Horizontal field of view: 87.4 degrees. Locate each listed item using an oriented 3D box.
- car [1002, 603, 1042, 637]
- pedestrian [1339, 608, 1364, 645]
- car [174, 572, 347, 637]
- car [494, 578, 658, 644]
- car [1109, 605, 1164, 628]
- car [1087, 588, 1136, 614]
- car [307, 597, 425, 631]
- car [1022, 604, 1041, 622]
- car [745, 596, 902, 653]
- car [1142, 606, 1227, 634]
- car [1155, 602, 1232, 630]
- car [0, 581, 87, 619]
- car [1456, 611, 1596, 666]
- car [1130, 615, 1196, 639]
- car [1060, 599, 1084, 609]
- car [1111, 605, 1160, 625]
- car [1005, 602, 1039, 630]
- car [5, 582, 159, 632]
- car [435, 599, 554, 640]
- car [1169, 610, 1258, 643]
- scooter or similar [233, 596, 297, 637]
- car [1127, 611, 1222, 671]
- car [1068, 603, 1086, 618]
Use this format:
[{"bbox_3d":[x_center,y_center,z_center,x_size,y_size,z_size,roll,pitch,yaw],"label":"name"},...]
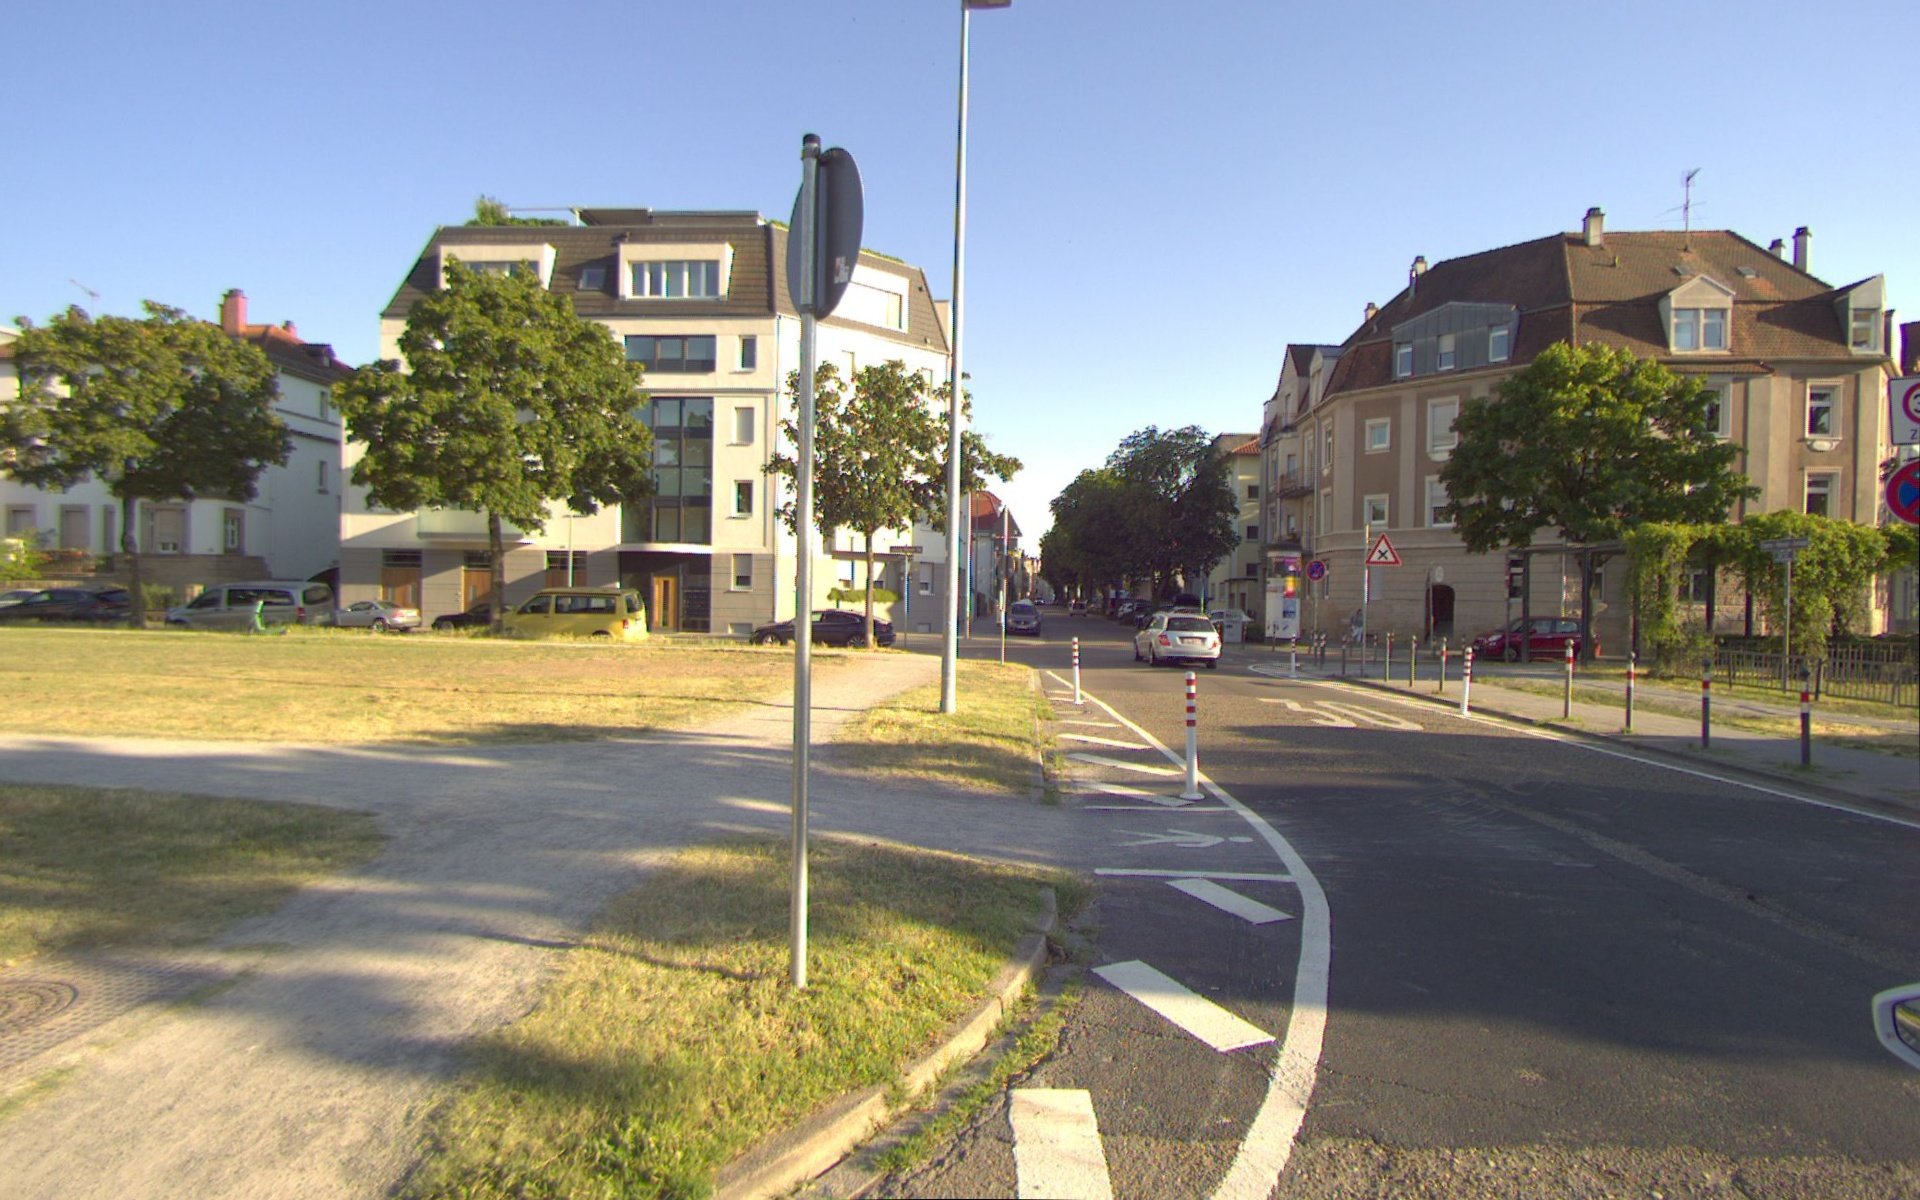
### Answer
[{"bbox_3d":[3.053,0.956,50.196,1.853,1.612,4.091,1,0,2],"label":"car"},{"bbox_3d":[17.486,1.182,44.829,0.808,1.566,0.739,5,4,36],"label":"pedestrian"},{"bbox_3d":[-23.854,0.156,34.375,4.483,2.040,2.080,1,0,3],"label":"car"},{"bbox_3d":[-12.670,0.358,33.332,4.600,2.040,2.034,1,0,3],"label":"car"},{"bbox_3d":[15.536,1.436,88.741,4.548,1.861,1.954,2,0,4],"label":"car"},{"bbox_3d":[18.078,0.146,119.928,5.449,3.008,2.472,1,1,2],"label":"car"},{"bbox_3d":[-23.508,0.559,39.814,3.657,1.257,1.626,2,-1,0],"label":"car"},{"bbox_3d":[6.355,1.120,88.902,1.631,1.508,3.755,2,0,4],"label":"car"},{"bbox_3d":[-4.400,0.773,32.787,4.741,1.691,1.789,1,0,5],"label":"car"},{"bbox_3d":[12.784,1.124,57.305,4.403,1.546,1.953,0,1,-2],"label":"car"},{"bbox_3d":[14.520,0.984,62.671,4.450,1.662,1.875,1,0,3],"label":"car"},{"bbox_3d":[-38.318,-0.027,41.049,3.928,1.465,1.643,1,-1,3],"label":"car"},{"bbox_3d":[20.537,1.378,36.592,4.005,1.764,1.812,1,2,6],"label":"car"},{"bbox_3d":[13.687,1.814,67.859,4.120,1.579,1.875,1,0,3],"label":"car"},{"bbox_3d":[18.253,0.630,163.302,3.779,1.502,1.806,1,1,5],"label":"car"},{"bbox_3d":[14.013,1.179,80.460,3.667,1.579,1.726,1,0,3],"label":"car"},{"bbox_3d":[3.663,0.921,60.070,1.853,1.612,4.091,1,0,2],"label":"car"},{"bbox_3d":[-30.030,0.235,34.413,3.759,1.601,1.827,1,0,4],"label":"car"},{"bbox_3d":[-18.421,0.766,39.814,3.919,1.482,1.678,1,0,5],"label":"car"},{"bbox_3d":[12.573,1.302,49.969,3.980,1.525,1.862,1,0,3],"label":"car"},{"bbox_3d":[-20.353,0.480,29.424,1.615,1.131,0.453,1,0,5],"label":"scooter or similar"},{"bbox_3d":[5.789,1.072,27.576,1.787,1.492,4.217,1,-1,1],"label":"car"},{"bbox_3d":[12.010,1.130,103.366,1.786,1.492,4.219,1,-1,7],"label":"car"}]
